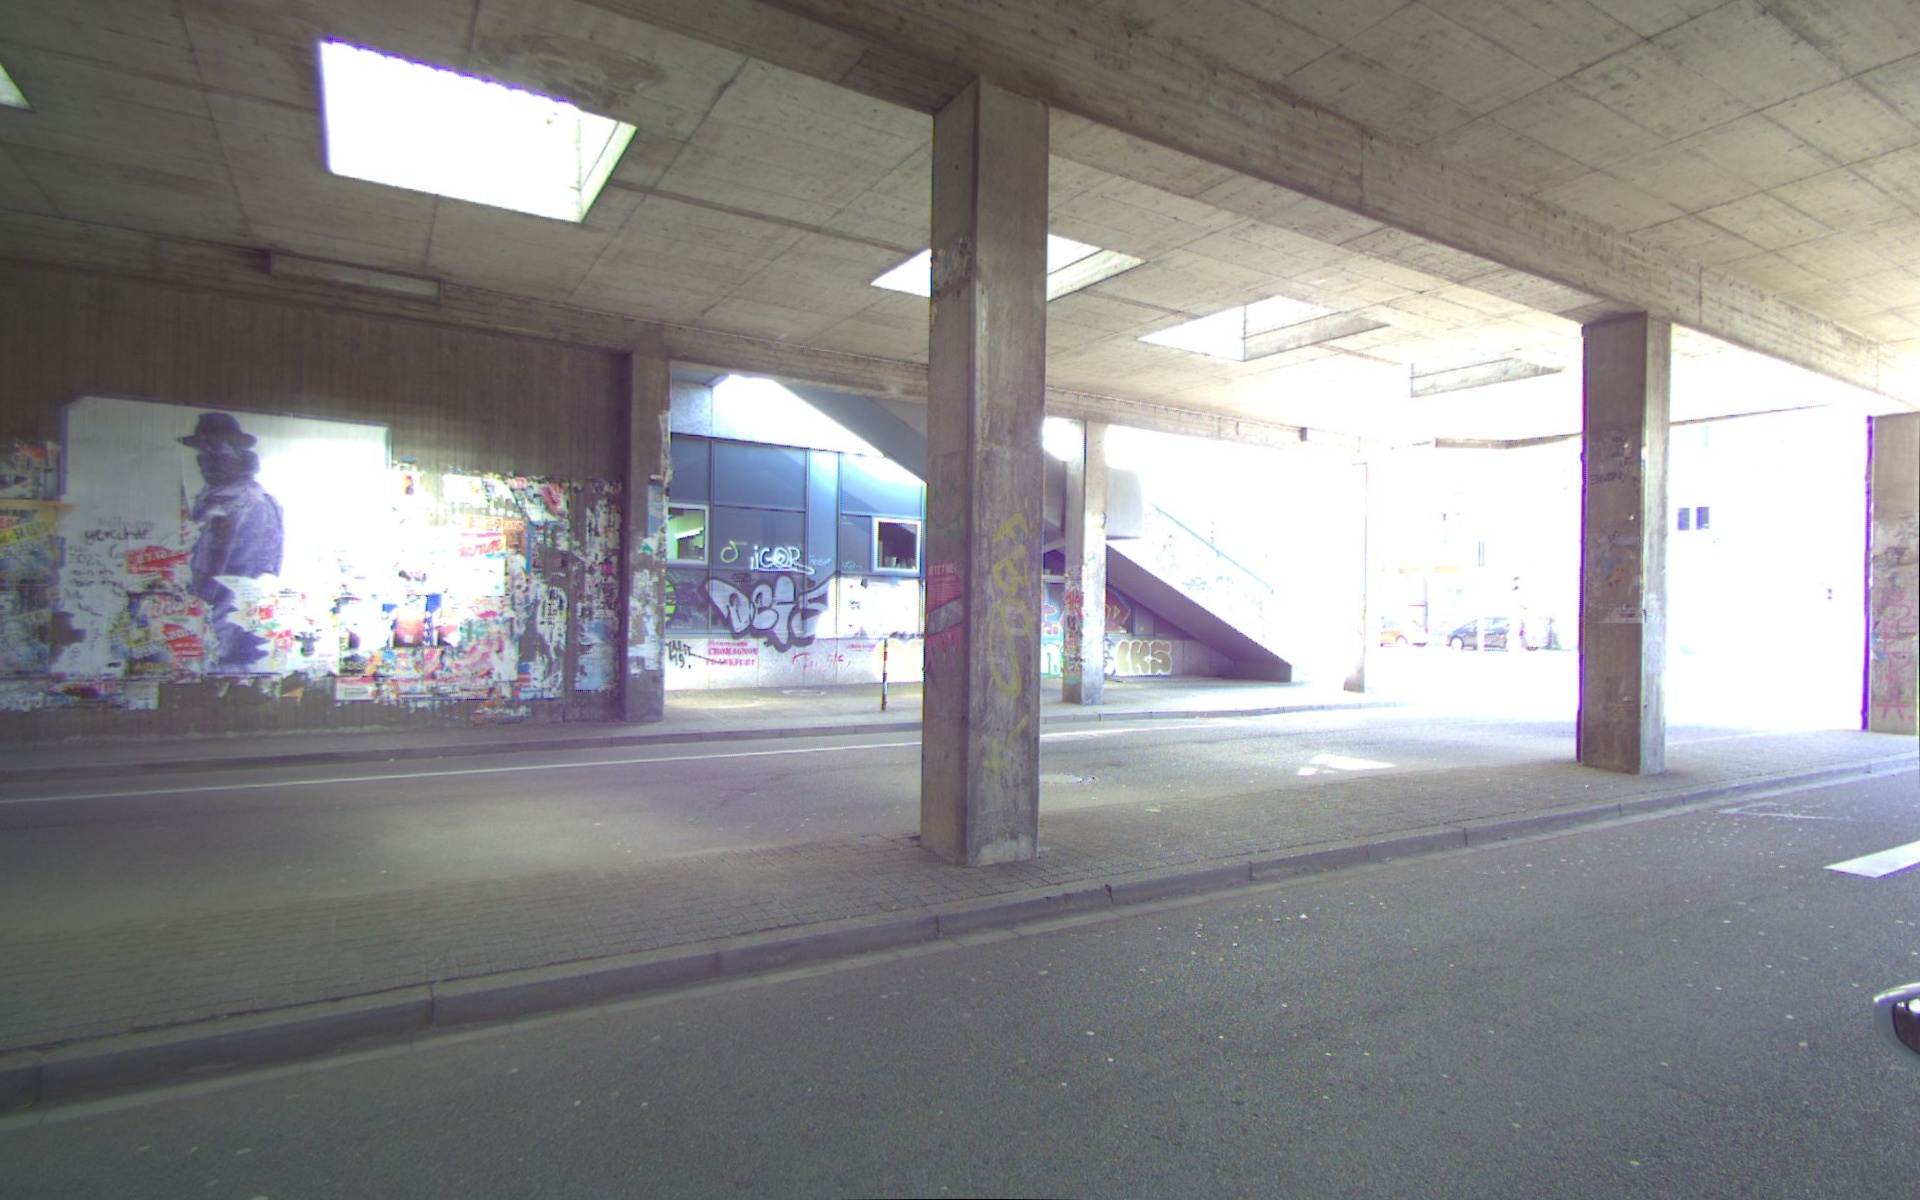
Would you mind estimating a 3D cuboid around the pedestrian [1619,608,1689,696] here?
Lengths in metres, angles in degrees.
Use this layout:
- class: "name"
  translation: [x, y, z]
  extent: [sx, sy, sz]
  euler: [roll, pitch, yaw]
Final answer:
- class: "pedestrian"
  translation: [14.627, 1.083, 21.169]
  extent: [0.784, 1.785, 0.925]
  euler: [2, 0, -28]

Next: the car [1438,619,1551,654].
- class: "car"
  translation: [25.379, 1.707, 47.811]
  extent: [1.905, 1.428, 4.382]
  euler: [2, 0, -32]

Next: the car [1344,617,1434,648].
- class: "car"
  translation: [22.476, 1.696, 52.711]
  extent: [1.905, 1.428, 3.965]
  euler: [2, 0, -32]

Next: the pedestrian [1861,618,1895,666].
- class: "pedestrian"
  translation: [32.611, 1.499, 35.698]
  extent: [0.732, 1.659, 0.669]
  euler: [2, 0, -30]
